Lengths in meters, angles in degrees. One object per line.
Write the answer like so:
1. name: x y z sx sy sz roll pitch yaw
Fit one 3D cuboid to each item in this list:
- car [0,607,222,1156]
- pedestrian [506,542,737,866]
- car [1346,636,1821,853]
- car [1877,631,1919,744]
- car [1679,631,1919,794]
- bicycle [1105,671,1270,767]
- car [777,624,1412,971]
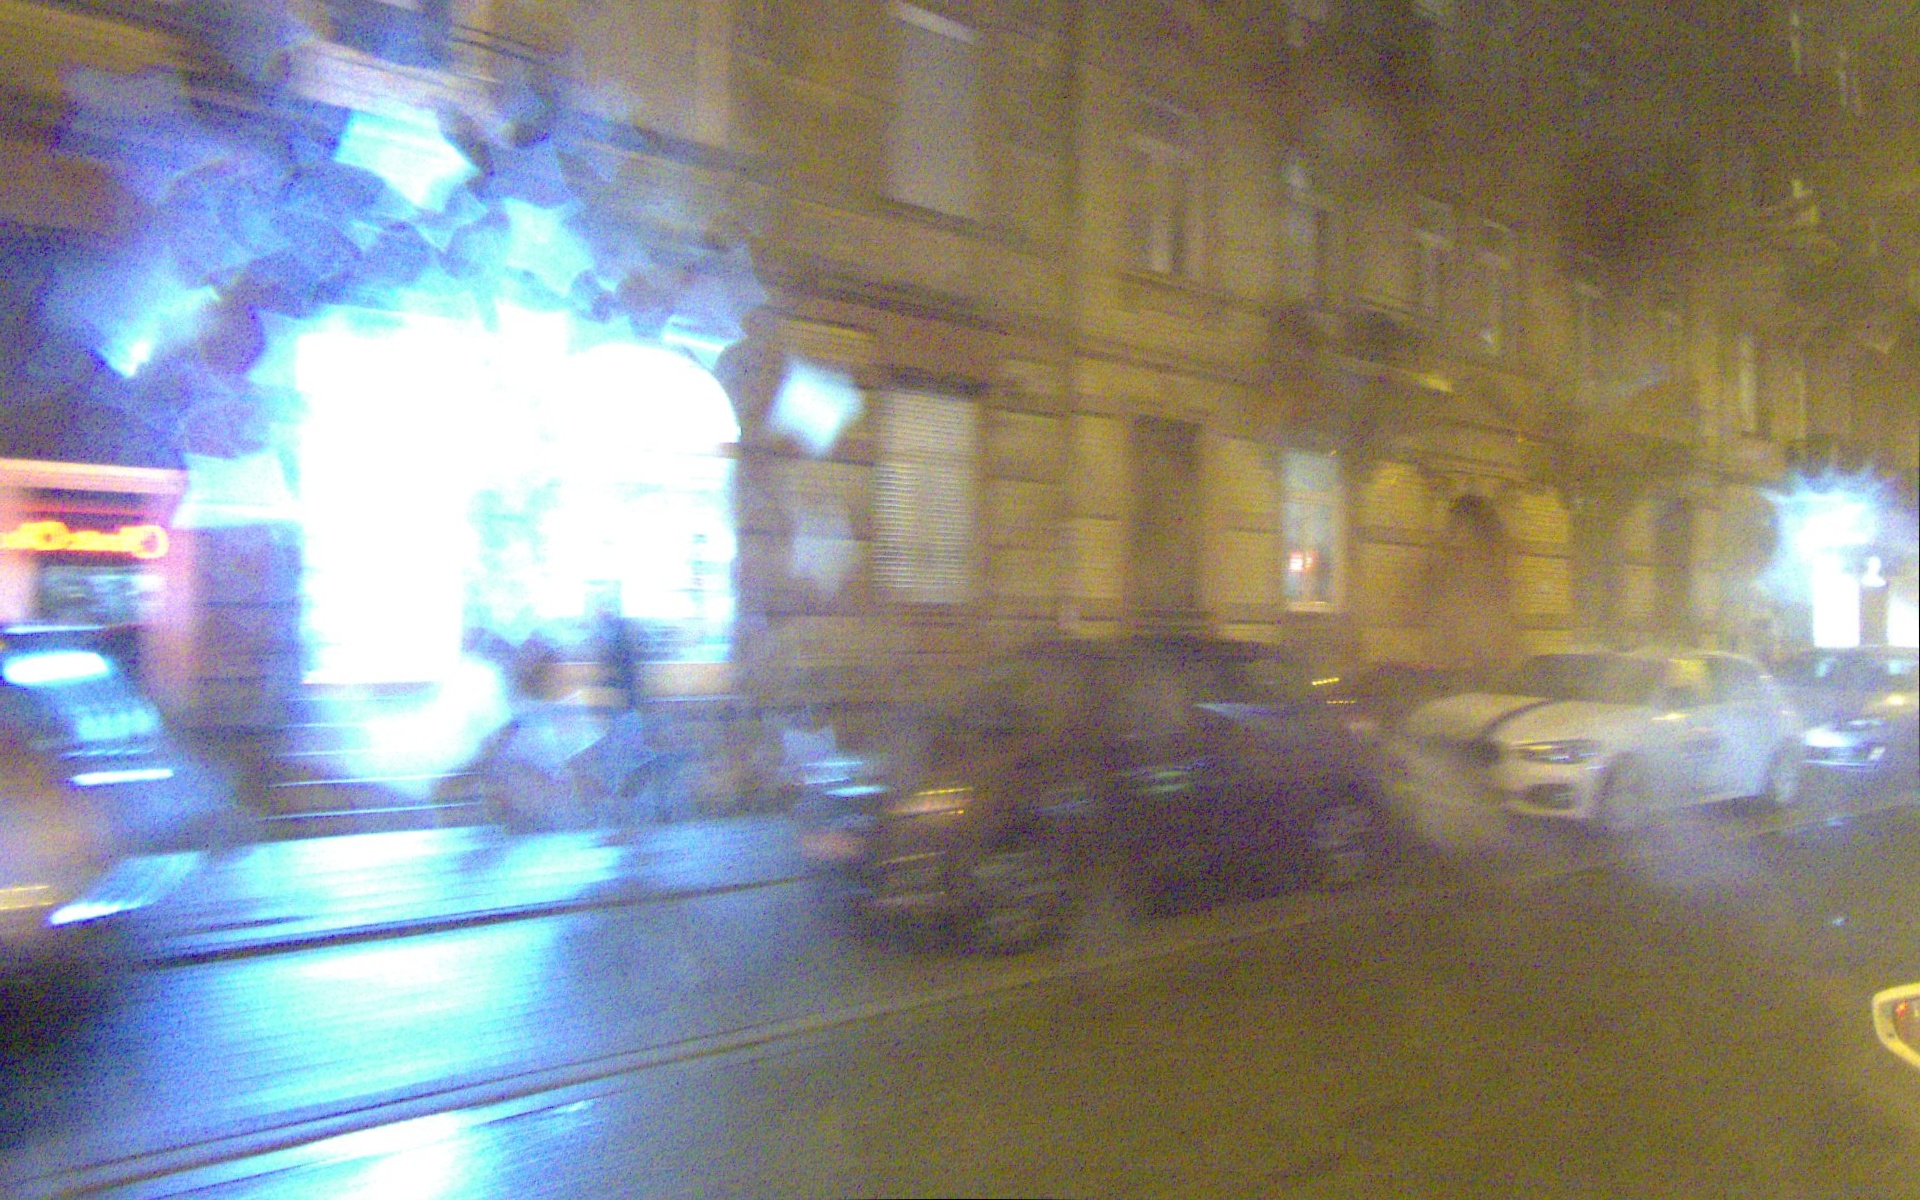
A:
1. car: -4.003 0.776 2.953 2.754 1.530 1.579 1 -1 -30
2. pedestrian: -2.197 0.605 6.549 1.018 1.889 0.974 2 0 36
3. car: 5.475 1.052 8.693 4.266 1.419 1.682 1 0 -30
4. car: 14.587 1.224 13.752 3.955 1.468 1.983 2 0 -32
5. car: 10.337 1.131 11.434 4.567 1.468 1.745 1 1 -30
6. bicycle: 2.512 1.280 10.974 1.991 0.970 0.447 3 -3 -30
7. car: 0.848 0.898 5.886 3.461 1.468 1.579 1 -1 -30
